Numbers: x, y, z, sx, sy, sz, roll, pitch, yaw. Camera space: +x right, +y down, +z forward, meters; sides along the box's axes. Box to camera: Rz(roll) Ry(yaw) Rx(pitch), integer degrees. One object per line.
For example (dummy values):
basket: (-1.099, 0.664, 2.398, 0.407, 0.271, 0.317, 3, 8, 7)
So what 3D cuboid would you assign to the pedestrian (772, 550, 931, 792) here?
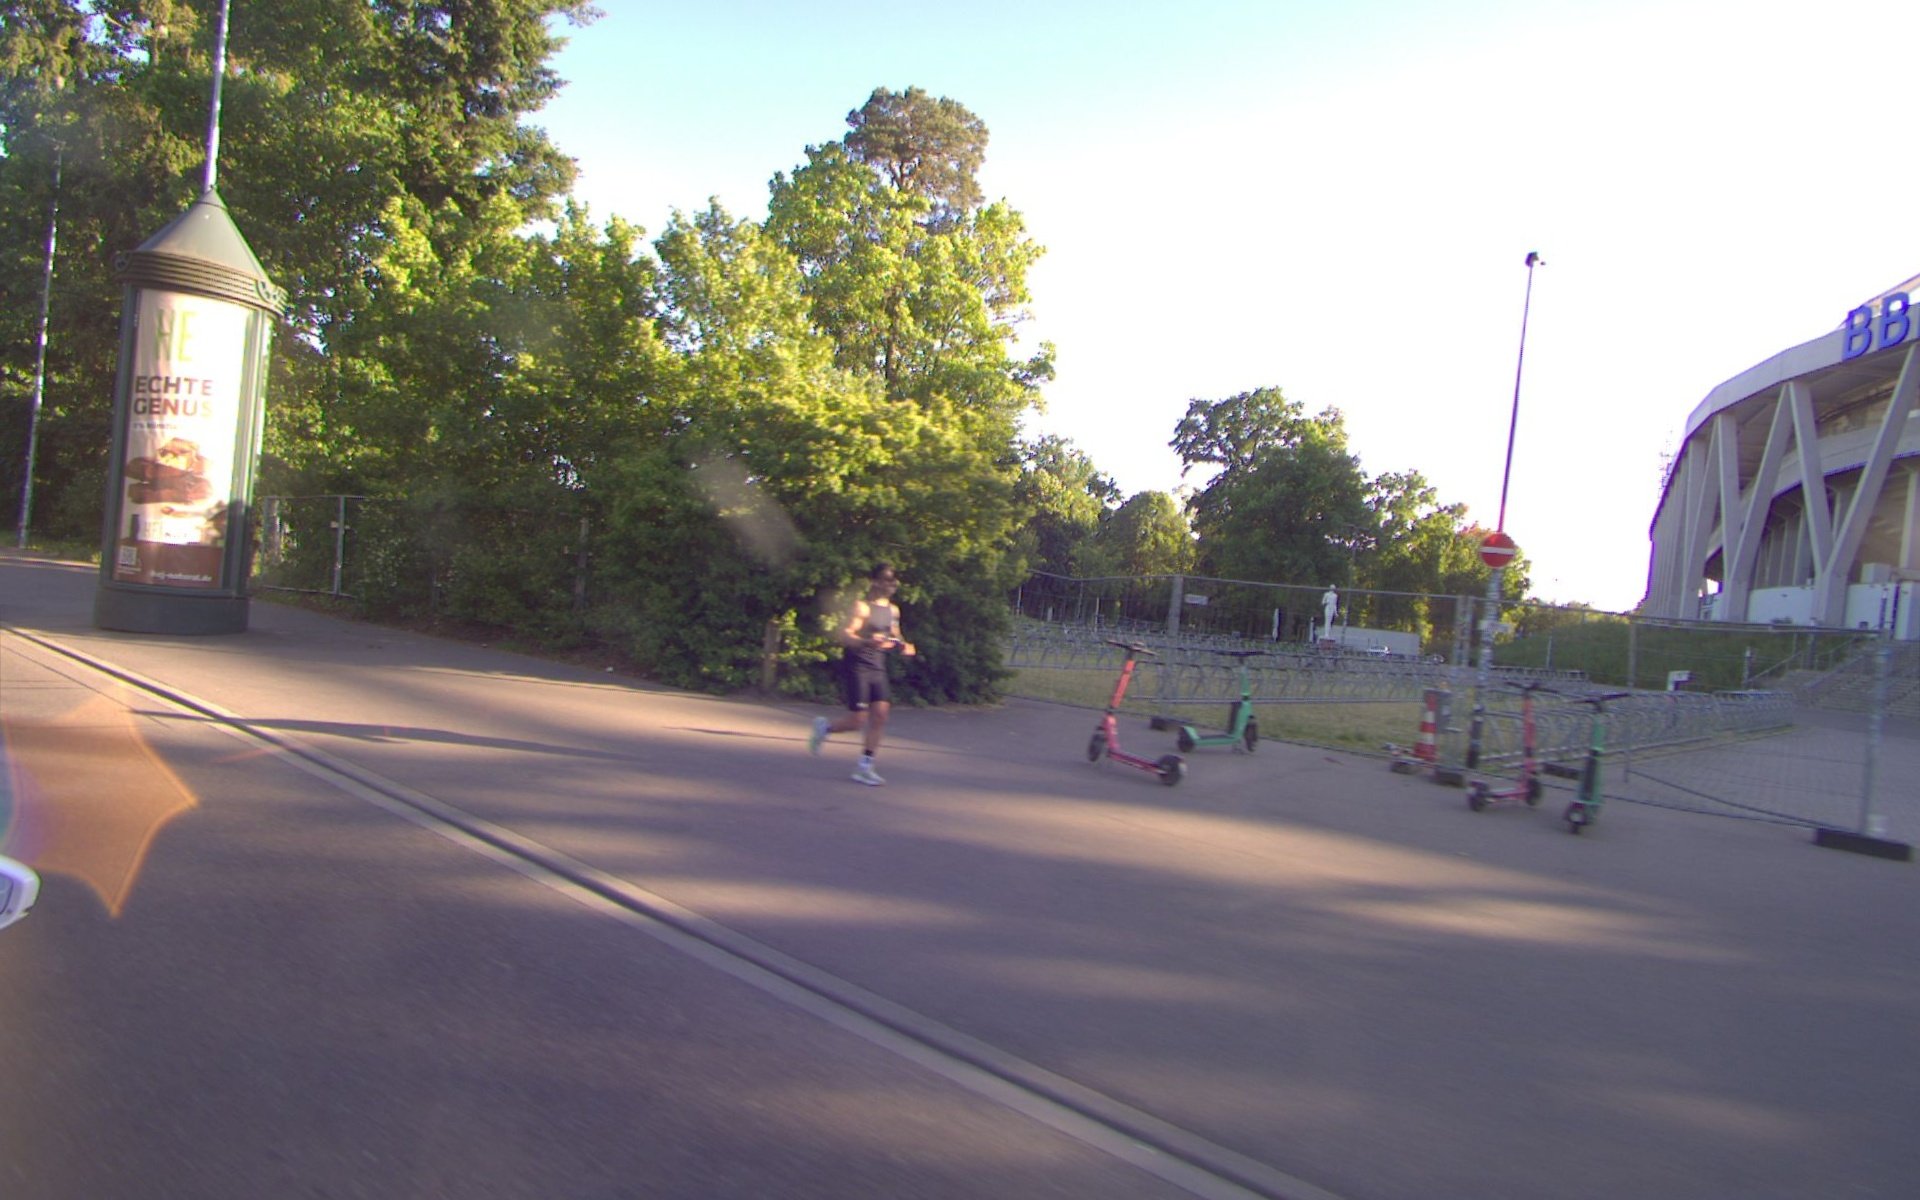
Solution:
pedestrian: (-0.837, 0.528, 7.717, 0.871, 1.708, 0.624, 6, 0, 44)

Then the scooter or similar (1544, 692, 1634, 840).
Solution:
scooter or similar: (5.584, 1.426, 8.911, 0.389, 1.161, 1.262, 5, 1, 42)

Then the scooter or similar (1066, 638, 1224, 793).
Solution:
scooter or similar: (1.673, 1.025, 9.248, 1.390, 1.187, 0.280, 7, 3, 44)

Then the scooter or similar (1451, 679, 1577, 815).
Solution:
scooter or similar: (5.252, 1.383, 9.516, 1.234, 1.182, 0.391, 5, 1, -31)

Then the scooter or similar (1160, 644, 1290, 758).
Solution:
scooter or similar: (2.988, 1.144, 11.310, 1.425, 1.182, 0.391, 5, 1, -27)
